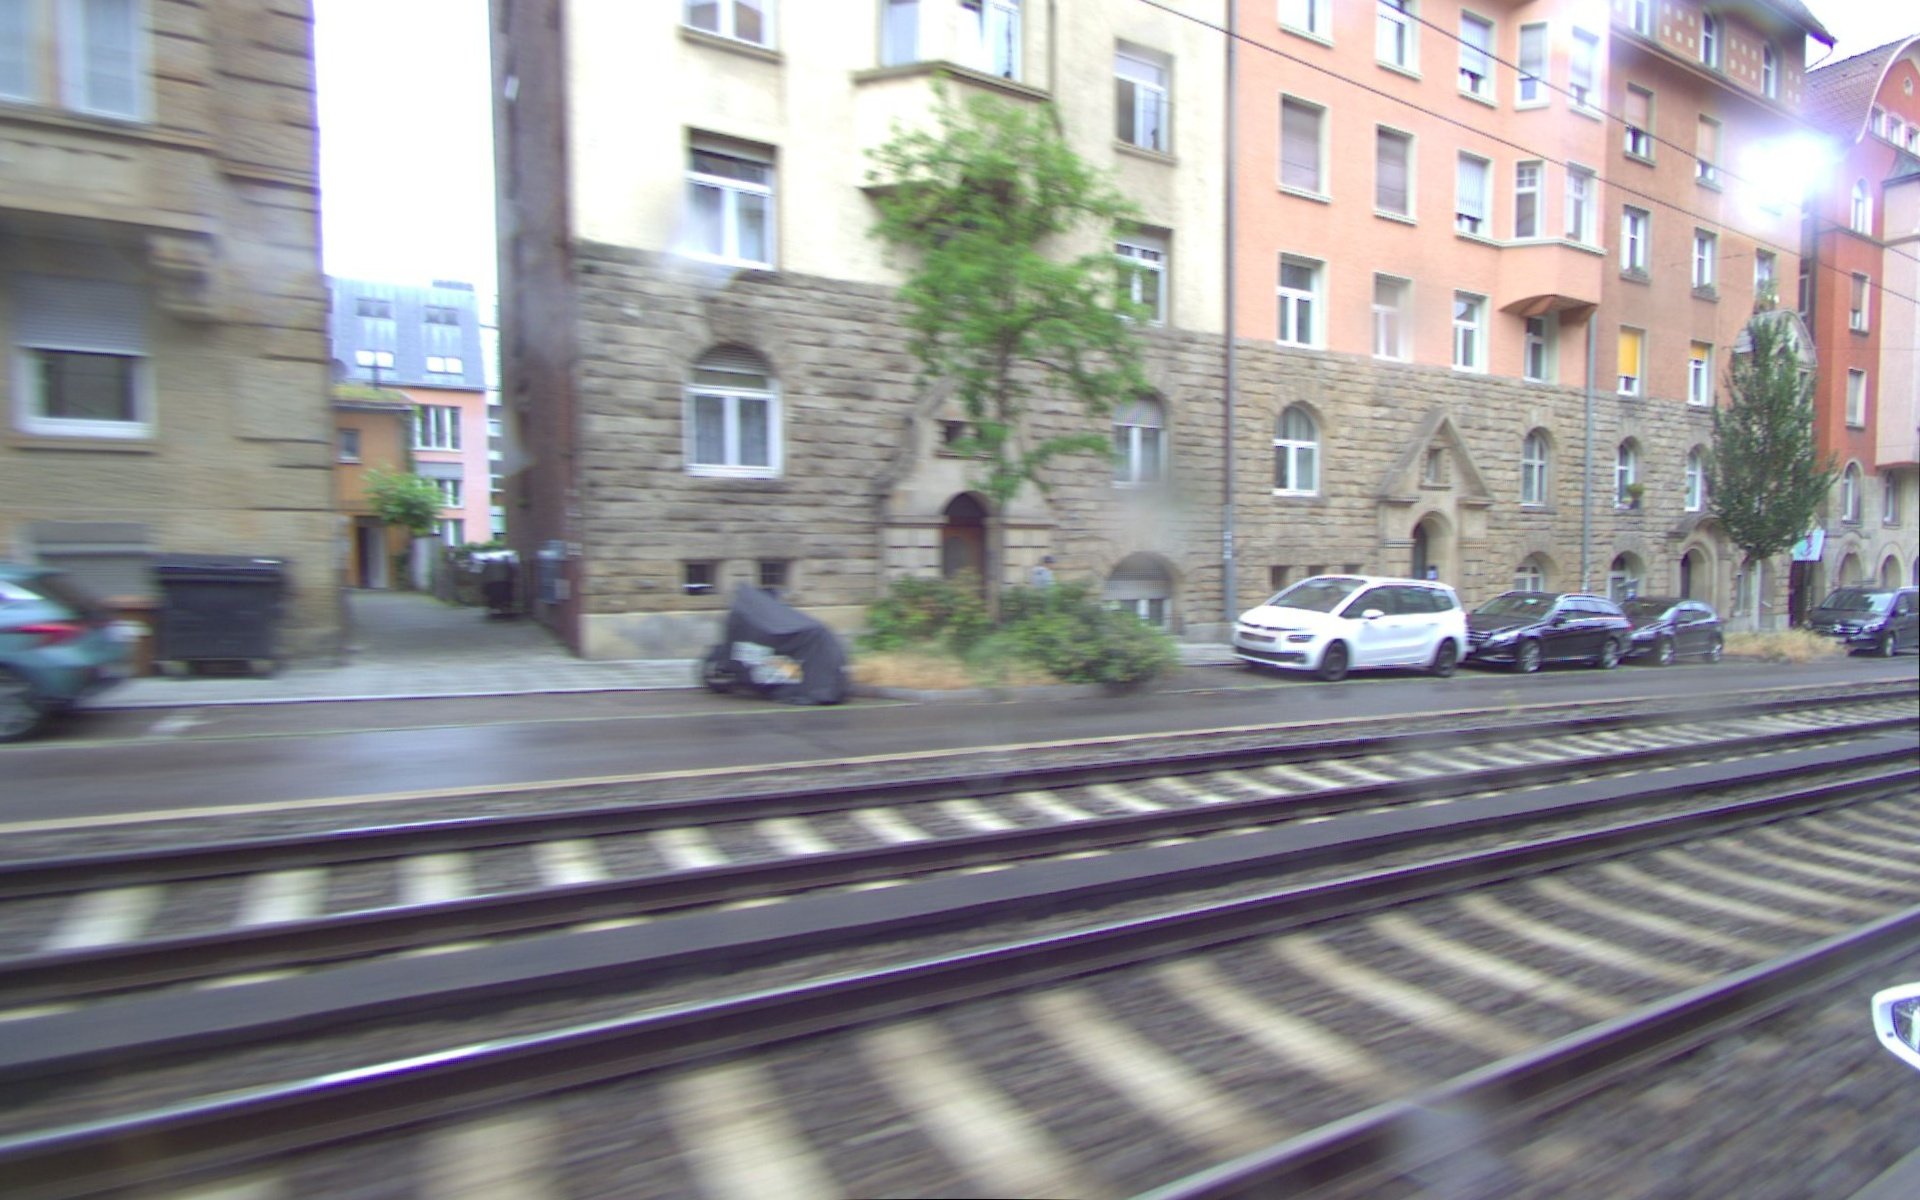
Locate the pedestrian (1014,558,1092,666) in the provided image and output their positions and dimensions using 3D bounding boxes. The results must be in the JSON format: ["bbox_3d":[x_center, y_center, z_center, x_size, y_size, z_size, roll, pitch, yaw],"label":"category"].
[{"bbox_3d":[1.584,0.190,17.240,0.913,1.777,1.002,0,2,-29],"label":"pedestrian"}]

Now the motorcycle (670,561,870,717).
[{"bbox_3d":[-2.300,0.388,11.998,2.235,1.664,1.285,2,2,44],"label":"motorcycle"}]

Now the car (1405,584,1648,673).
[{"bbox_3d":[11.447,0.502,20.224,4.915,1.530,1.984,0,3,-30],"label":"car"}]

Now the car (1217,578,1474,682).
[{"bbox_3d":[6.652,0.460,17.259,4.296,1.611,1.777,0,0,-28],"label":"car"}]

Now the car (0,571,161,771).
[{"bbox_3d":[-9.120,0.553,7.977,4.096,1.457,1.553,0,6,-30],"label":"car"}]

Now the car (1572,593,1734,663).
[{"bbox_3d":[15.612,0.579,22.591,3.842,1.417,1.632,0,2,-33],"label":"car"}]

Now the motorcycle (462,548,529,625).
[{"bbox_3d":[-10.054,-0.316,21.659,0.982,1.534,2.866,-3,3,-30],"label":"motorcycle"}]

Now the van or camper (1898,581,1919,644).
[{"bbox_3d":[32.574,0.312,32.456,4.646,1.924,1.985,0,-8,-32],"label":"van or camper"}]

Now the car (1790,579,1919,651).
[{"bbox_3d":[25.899,0.405,28.720,4.646,1.927,1.983,0,0,-32],"label":"car"}]
